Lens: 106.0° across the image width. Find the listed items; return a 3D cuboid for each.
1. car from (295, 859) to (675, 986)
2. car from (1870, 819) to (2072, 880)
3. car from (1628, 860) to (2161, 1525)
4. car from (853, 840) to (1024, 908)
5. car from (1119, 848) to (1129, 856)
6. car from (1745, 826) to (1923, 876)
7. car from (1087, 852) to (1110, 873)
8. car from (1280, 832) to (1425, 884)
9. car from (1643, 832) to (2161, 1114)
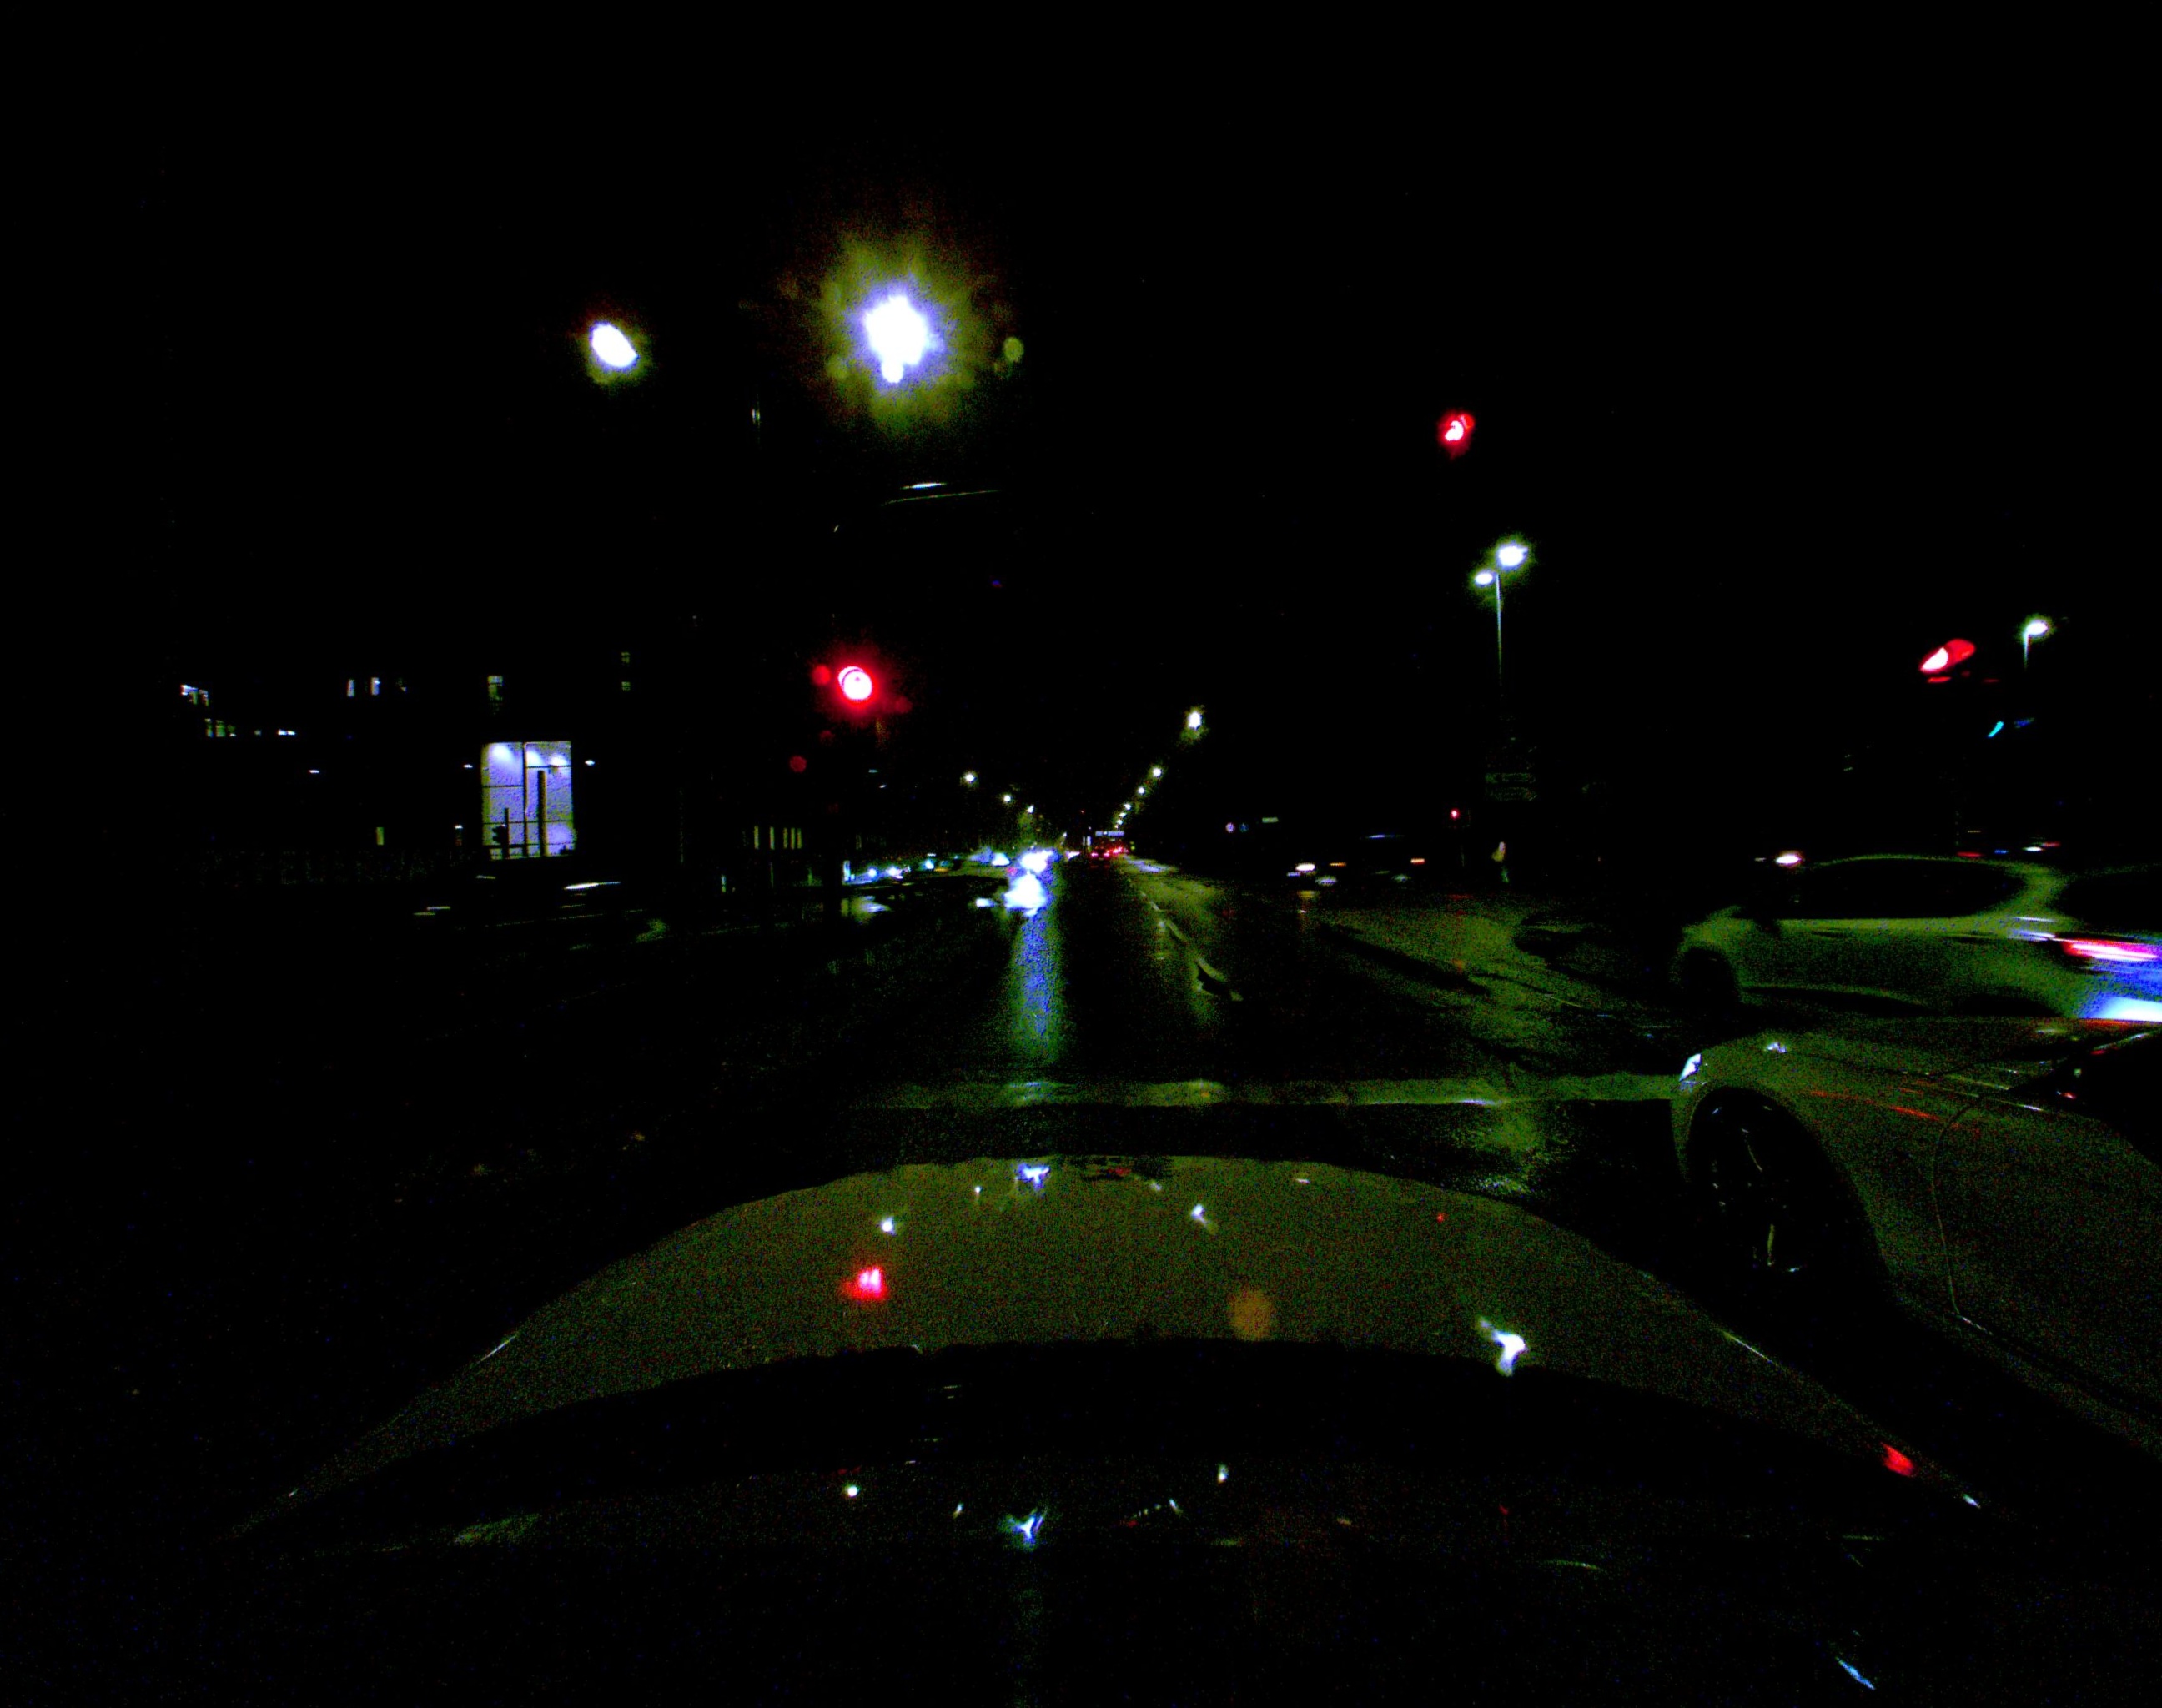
[{"bbox_3d":[-9.656,0.964,13.833,1.948,1.741,4.943,-1,-1,20],"label":"car"},{"bbox_3d":[32.818,-0.153,30.167,4.889,2.145,2.145,0,-1,5],"label":"car"},{"bbox_3d":[3.132,0.714,1.290,1.710,1.404,4.351,0,-1,2],"label":"car"},{"bbox_3d":[-3.960,0.518,23.005,4.418,1.741,1.888,0,-1,-38],"label":"car"},{"bbox_3d":[9.198,-0.429,173.363,1.986,1.759,4.001,0,-1,2],"label":"car"},{"bbox_3d":[25.539,-0.071,27.763,4.043,1.588,1.917,0,-3,9],"label":"car"},{"bbox_3d":[1.634,0.832,79.044,1.988,2.014,4.629,0,-1,-1],"label":"car"},{"bbox_3d":[9.426,0.152,28.554,4.477,1.749,1.859,0,-1,0],"label":"car"},{"bbox_3d":[6.165,0.629,6.014,1.627,1.459,3.595,0,-1,2],"label":"car"}]
